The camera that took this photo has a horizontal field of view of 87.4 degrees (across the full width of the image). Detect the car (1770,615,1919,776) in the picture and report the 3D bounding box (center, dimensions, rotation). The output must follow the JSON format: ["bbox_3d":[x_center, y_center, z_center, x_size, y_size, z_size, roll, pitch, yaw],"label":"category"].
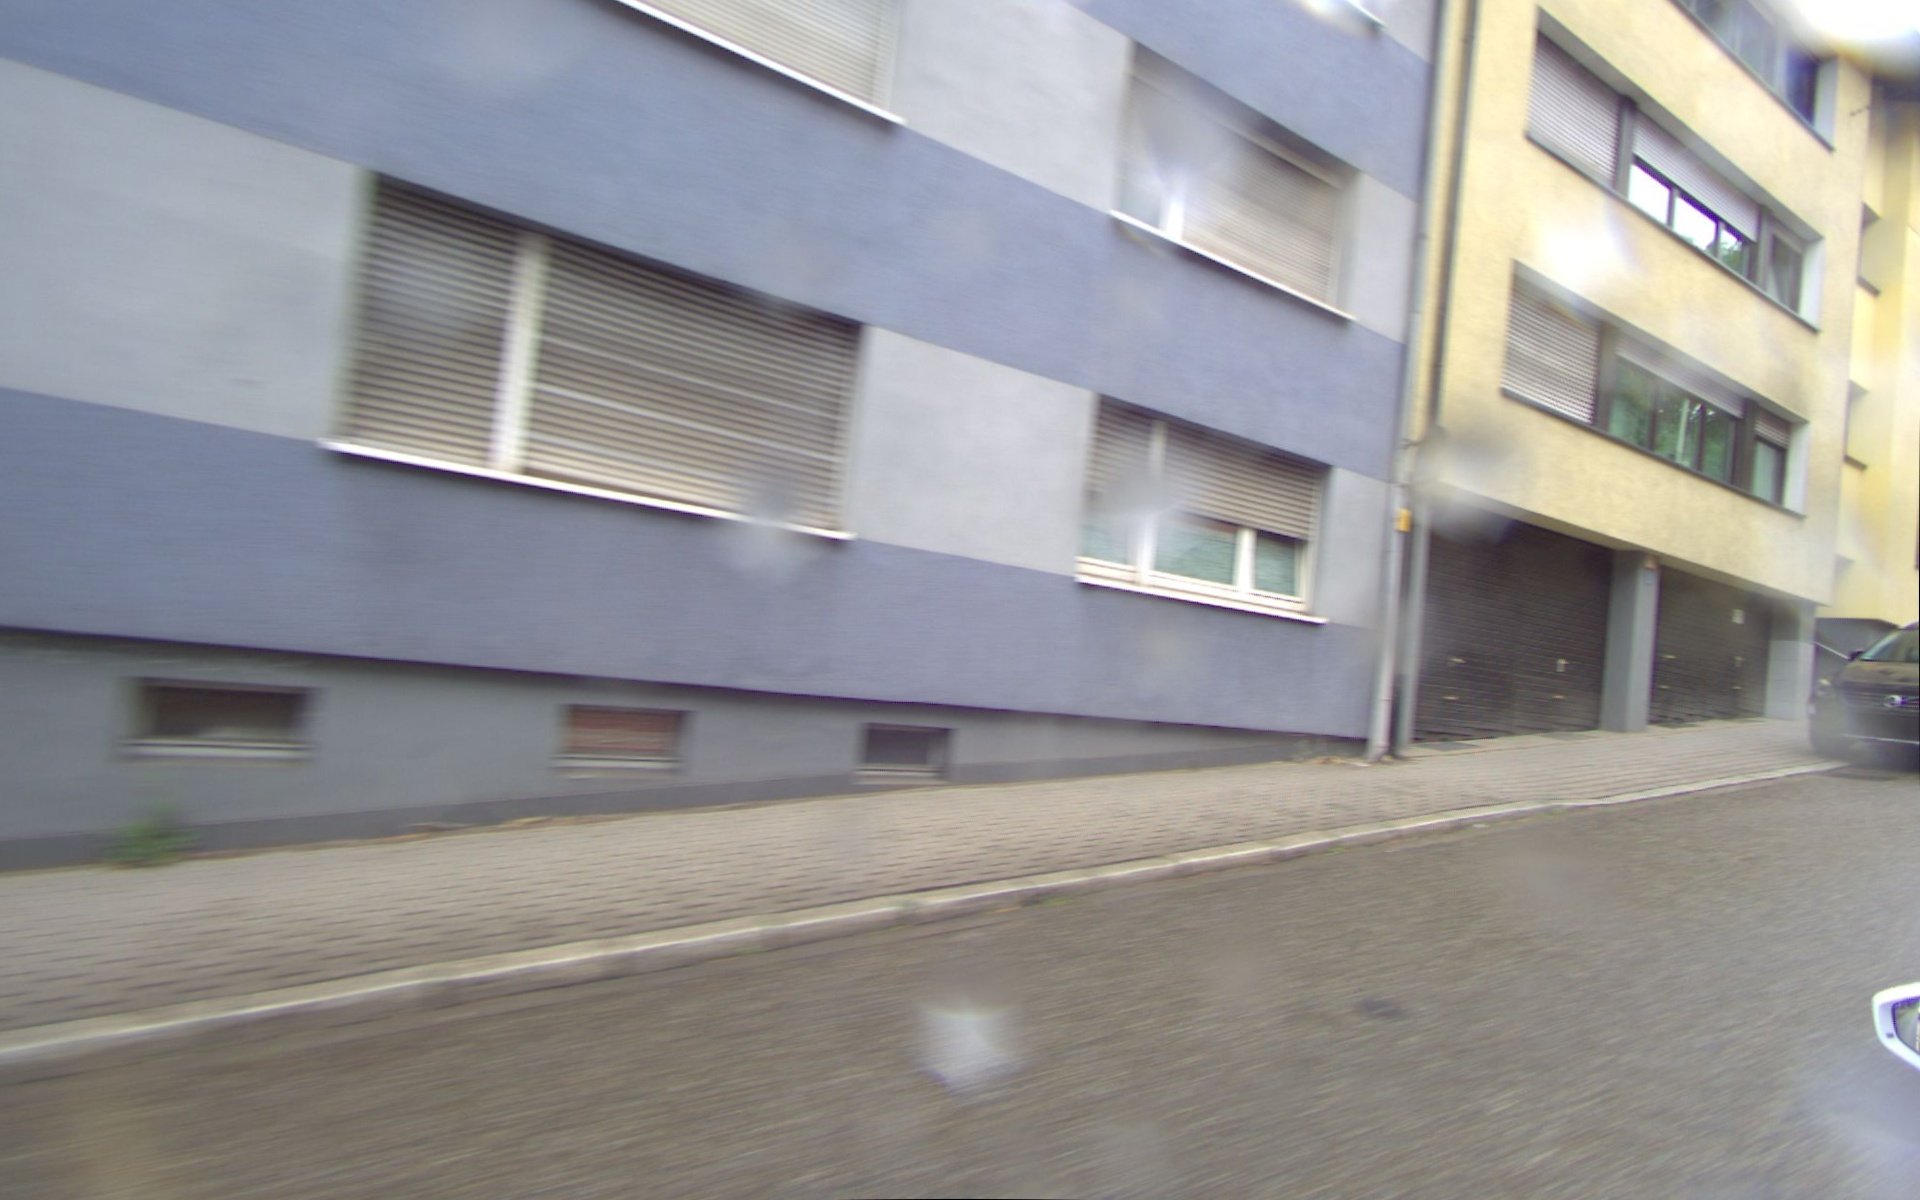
[{"bbox_3d":[11.823,1.050,11.943,4.389,1.672,1.984,1,0,-30],"label":"car"}]
